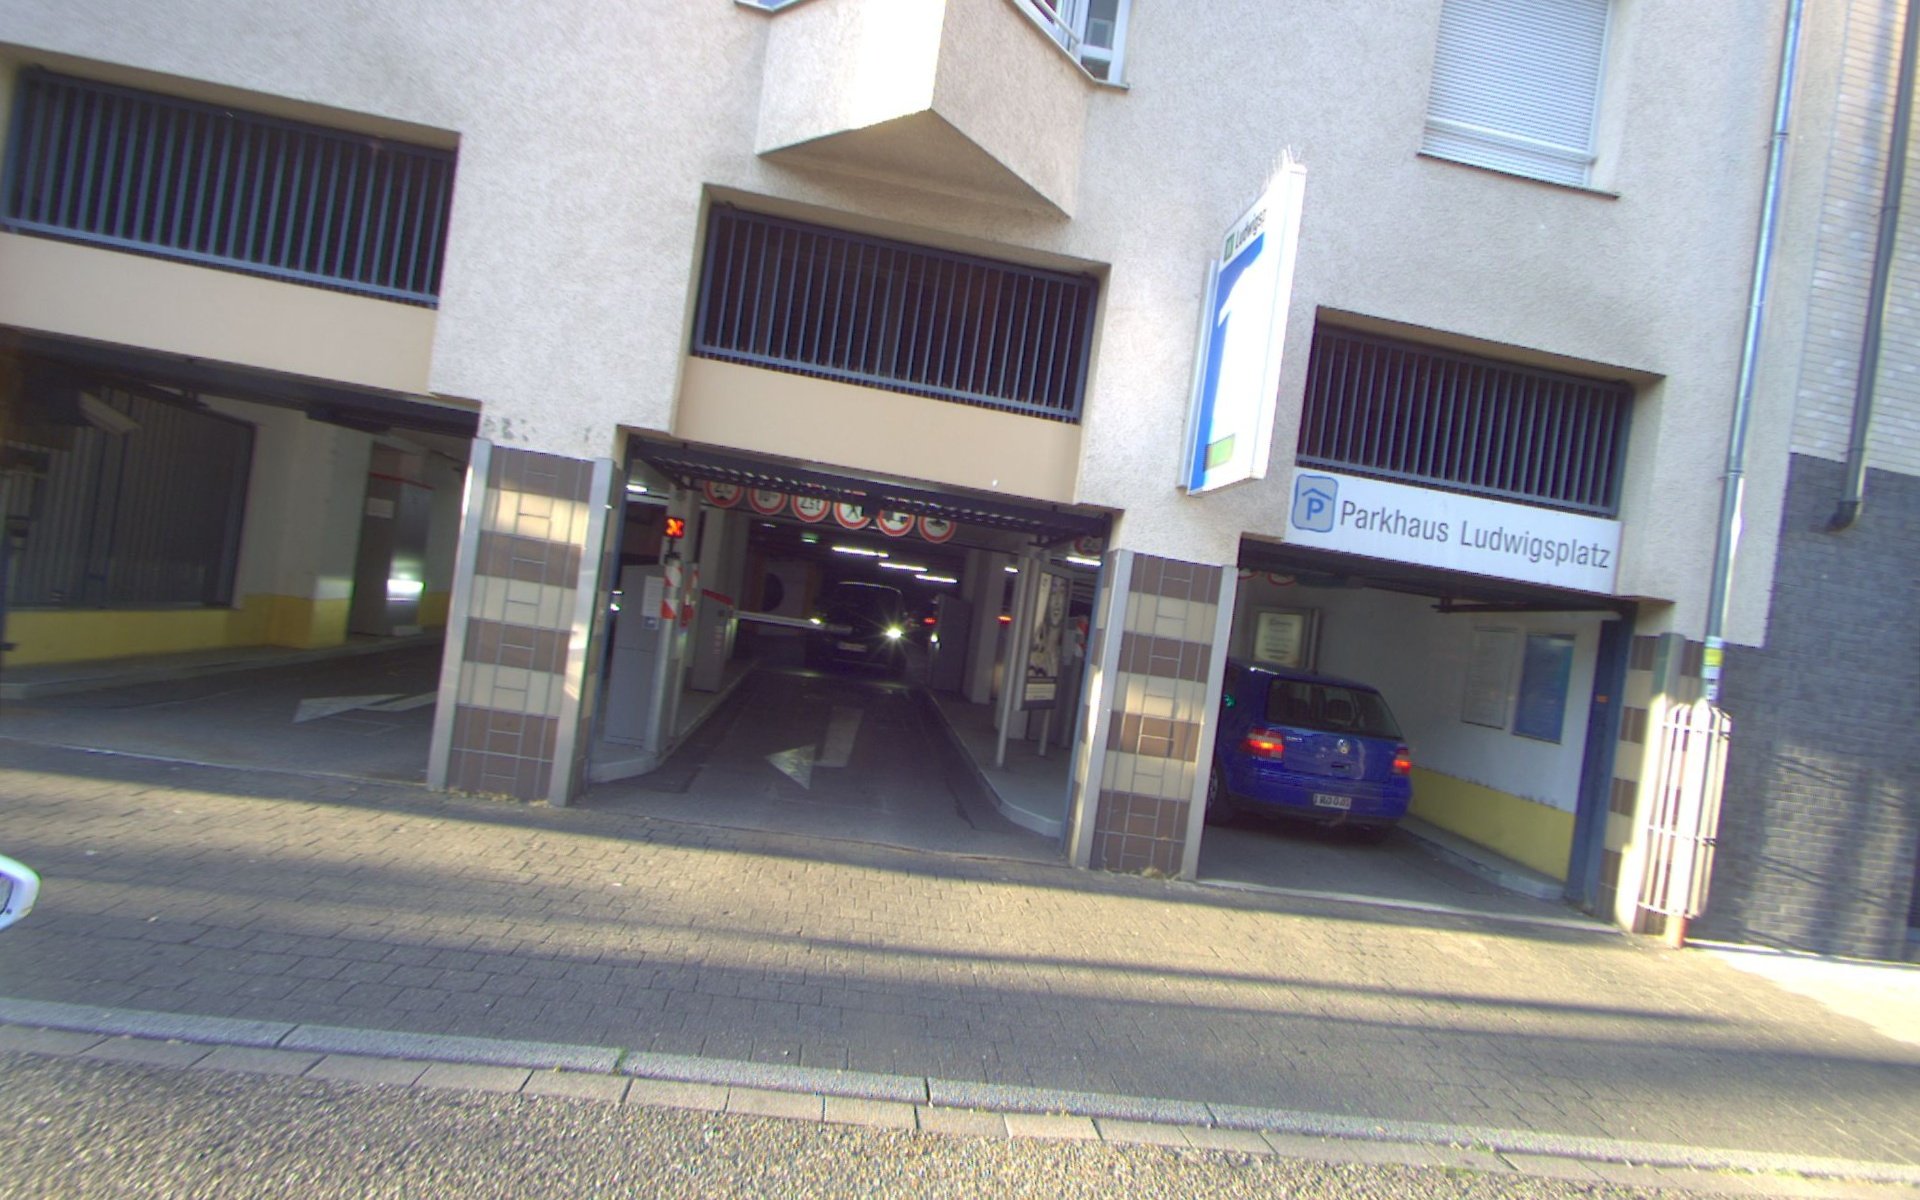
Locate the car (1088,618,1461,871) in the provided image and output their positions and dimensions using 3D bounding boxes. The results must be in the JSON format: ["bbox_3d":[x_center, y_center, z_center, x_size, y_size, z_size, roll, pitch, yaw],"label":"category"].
[{"bbox_3d":[2.766,1.200,9.974,1.666,1.583,4.108,8,1,-10],"label":"car"}]

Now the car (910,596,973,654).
[{"bbox_3d":[-0.699,0.830,35.322,1.534,1.638,3.874,8,0,-8],"label":"car"}]

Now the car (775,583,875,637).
[{"bbox_3d":[-5.017,0.349,37.120,1.599,1.408,3.832,8,1,-43],"label":"car"}]

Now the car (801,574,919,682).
[{"bbox_3d":[-1.847,0.513,19.908,1.857,1.643,4.299,8,-1,-2],"label":"car"}]

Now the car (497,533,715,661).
[{"bbox_3d":[-5.549,-0.029,16.406,1.785,1.592,4.251,8,0,2],"label":"car"}]
